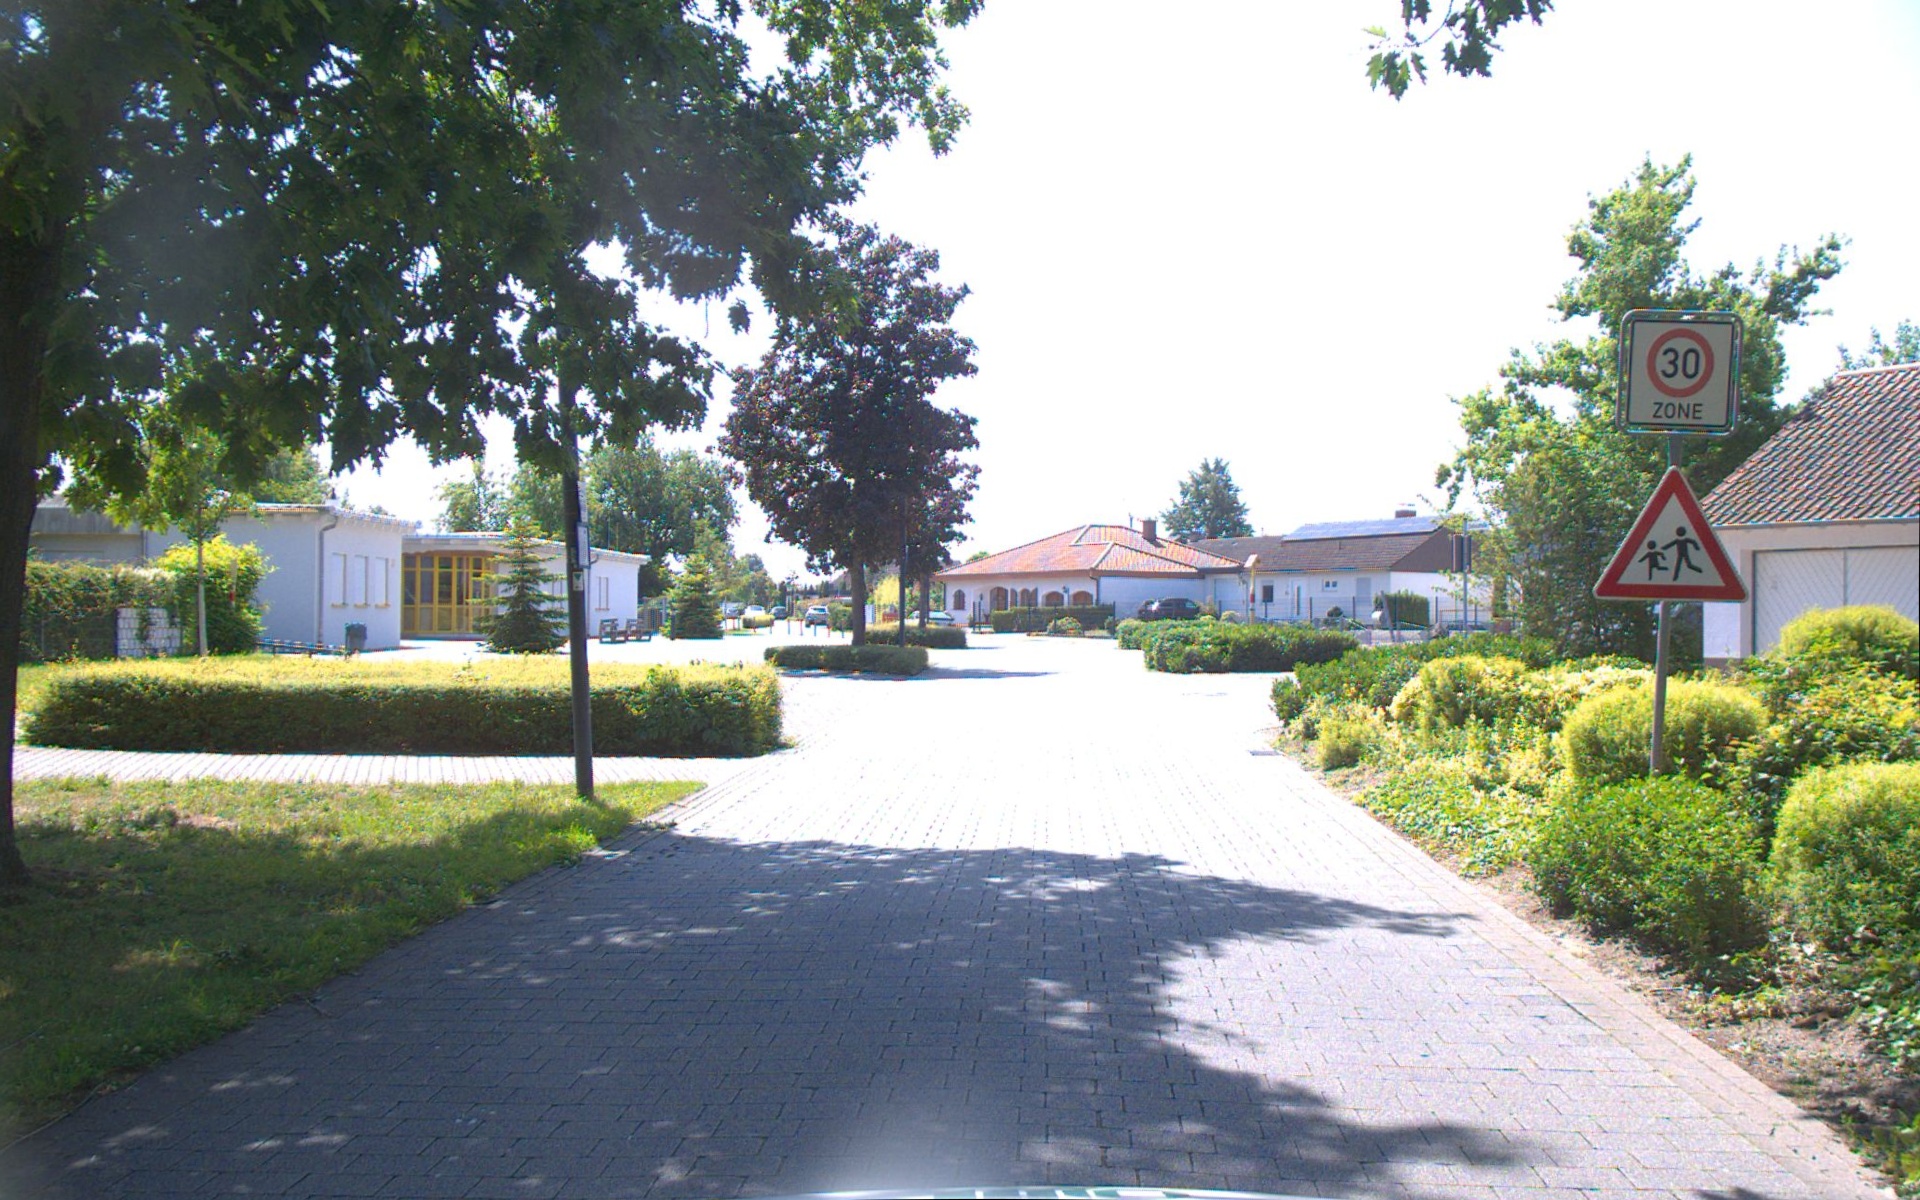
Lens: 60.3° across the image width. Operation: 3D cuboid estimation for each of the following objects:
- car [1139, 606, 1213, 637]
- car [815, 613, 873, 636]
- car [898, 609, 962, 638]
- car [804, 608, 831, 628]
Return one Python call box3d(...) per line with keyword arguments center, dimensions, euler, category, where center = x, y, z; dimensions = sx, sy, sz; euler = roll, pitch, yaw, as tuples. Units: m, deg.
box3d(center=(11.474, 1.138, 87.708), dimensions=(3.802, 1.569, 1.827), euler=(1, -1, -41), category="car")
box3d(center=(-6.754, 1.423, 95.812), dimensions=(1.970, 1.311, 3.964), euler=(1, -1, -27), category="car")
box3d(center=(-1.408, 1.088, 76.964), dimensions=(1.595, 1.311, 3.525), euler=(1, -1, -27), category="car")
box3d(center=(-9.720, 1.216, 112.578), dimensions=(1.585, 1.311, 3.549), euler=(1, -1, -9), category="car")
